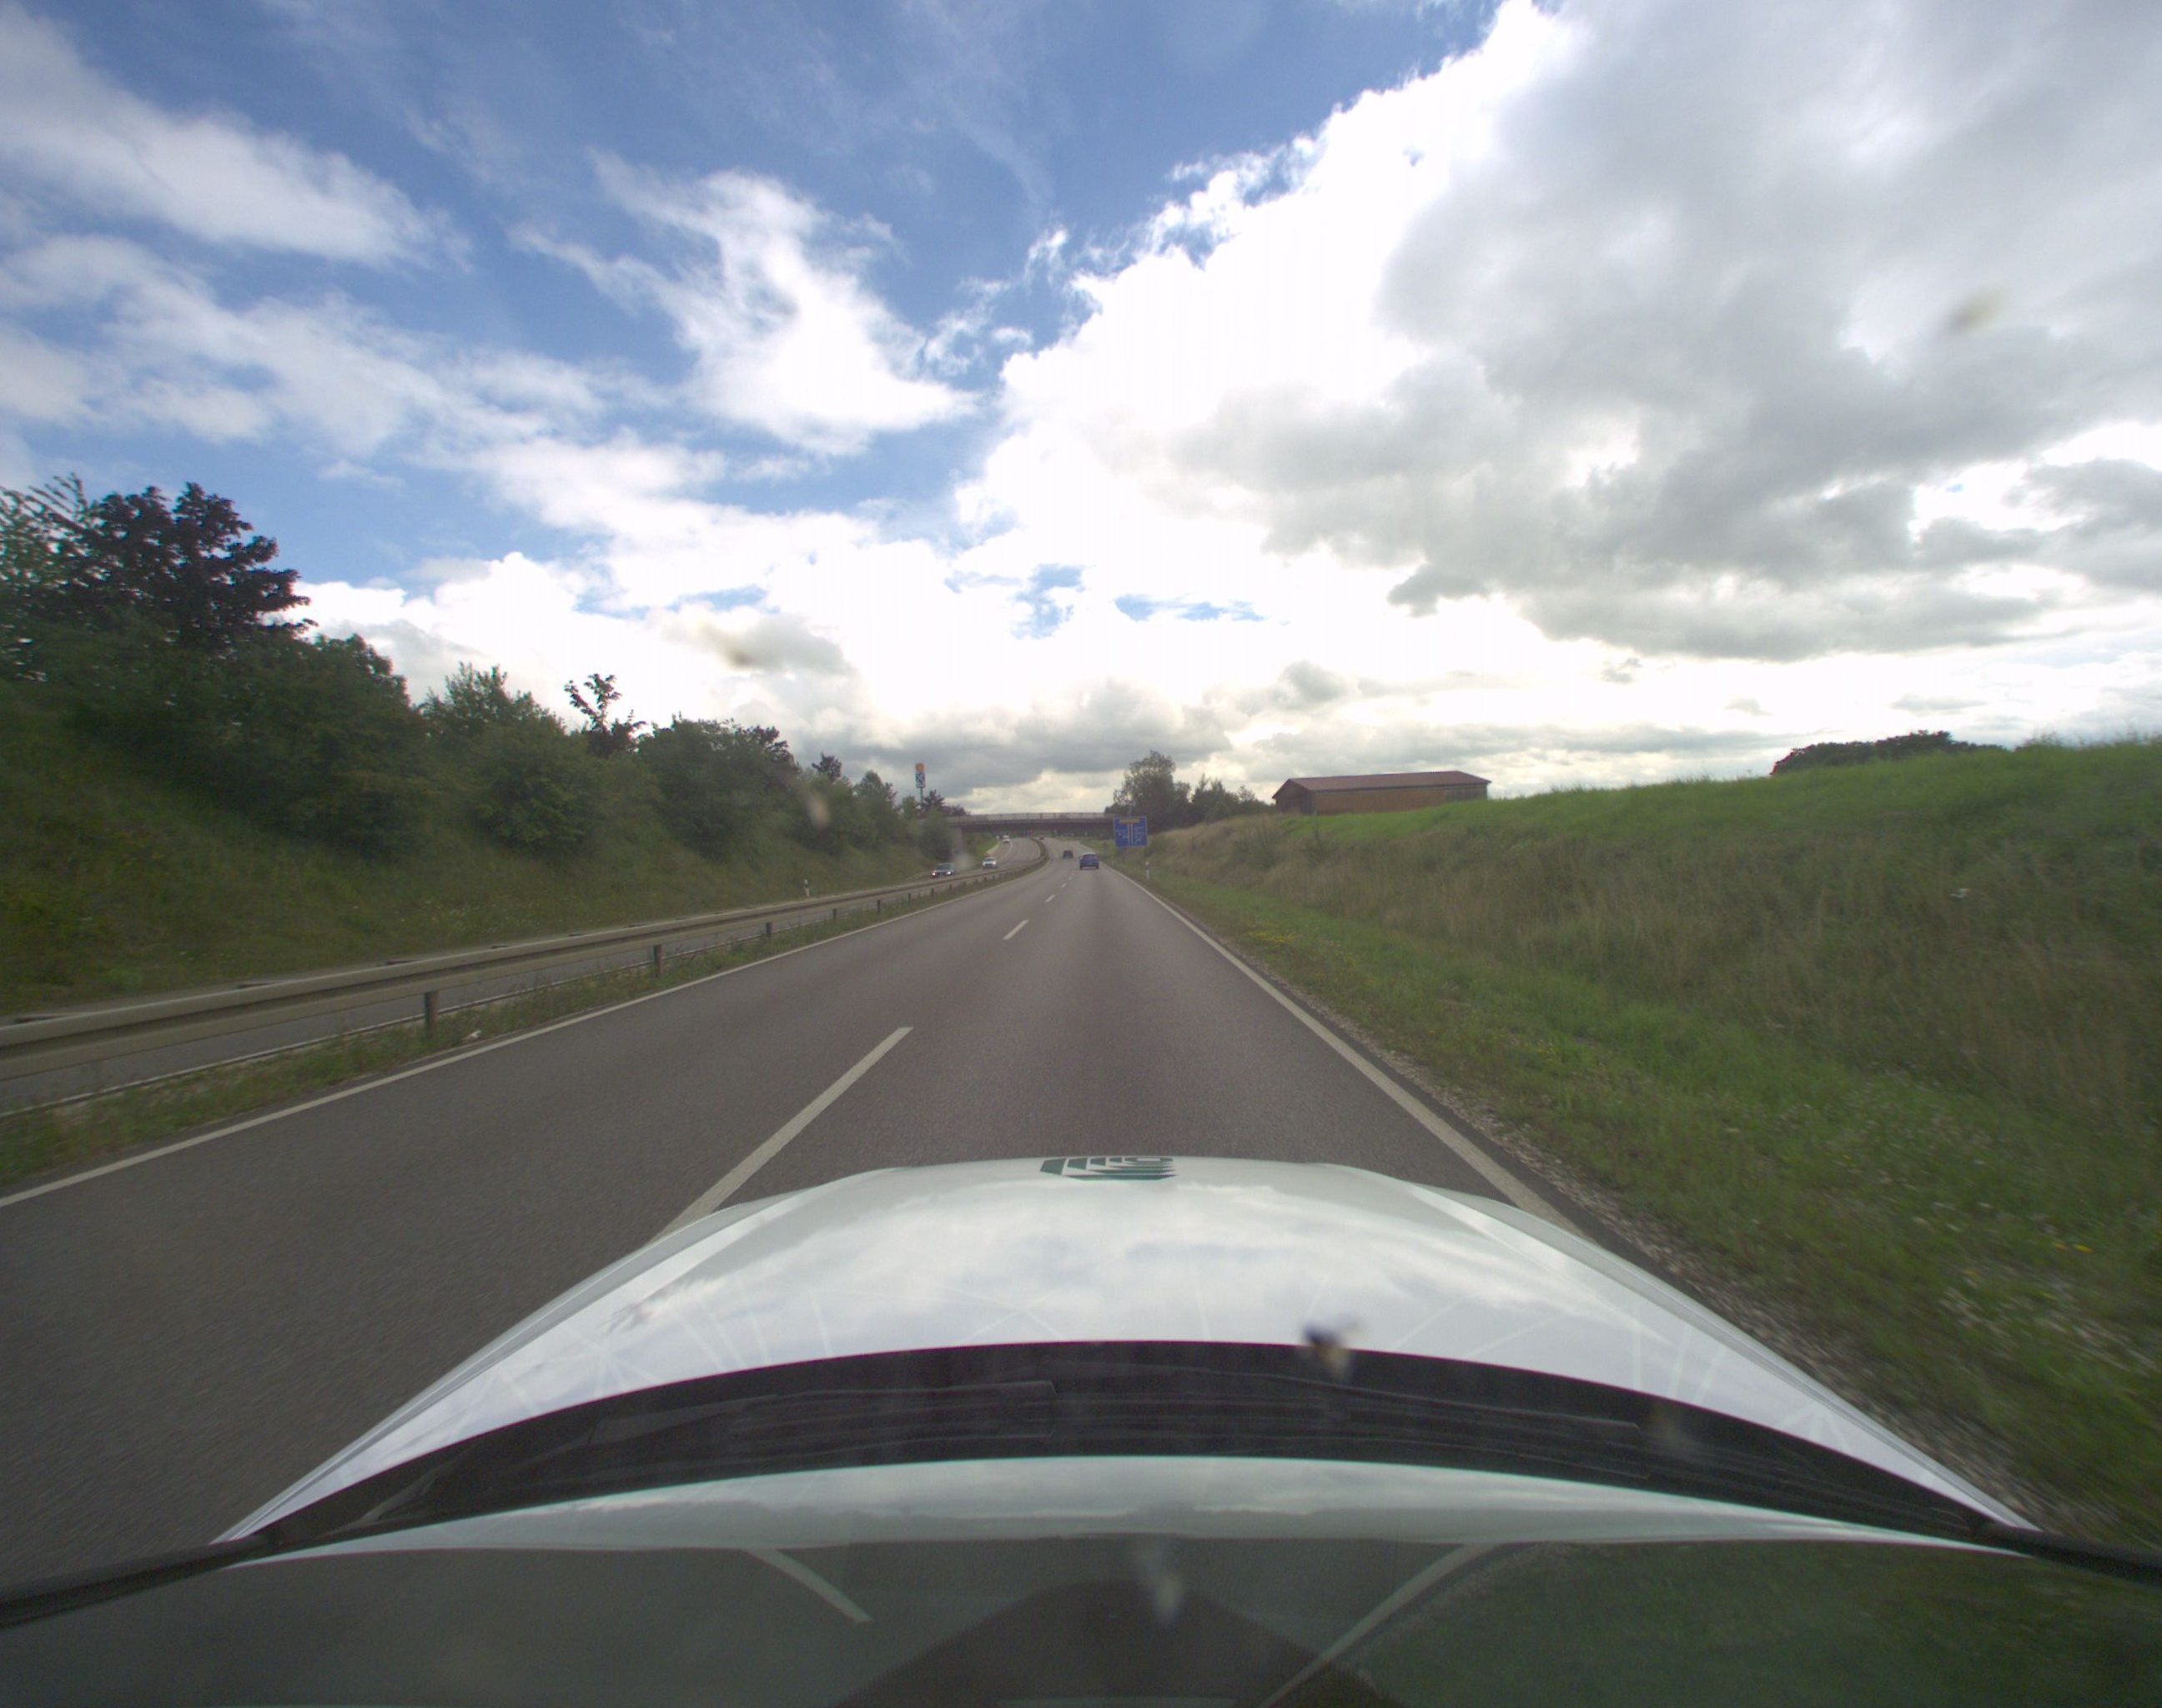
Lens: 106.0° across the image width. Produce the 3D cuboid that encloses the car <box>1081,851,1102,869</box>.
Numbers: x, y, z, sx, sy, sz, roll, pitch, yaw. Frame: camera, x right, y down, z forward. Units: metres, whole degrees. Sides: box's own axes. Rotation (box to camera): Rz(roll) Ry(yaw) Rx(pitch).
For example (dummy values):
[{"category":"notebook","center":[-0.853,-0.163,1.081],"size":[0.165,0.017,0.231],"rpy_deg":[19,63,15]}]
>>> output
[{"category":"car","center":[1.028,0.562,81.953],"size":[2.026,1.660,4.543],"rpy_deg":[-1,1,0]}]

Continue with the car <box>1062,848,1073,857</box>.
[{"category":"car","center":[-2.332,-0.308,143.373],"size":[1.912,1.453,4.362],"rpy_deg":[-3,1,-1]}]

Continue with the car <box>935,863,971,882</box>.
[{"category":"car","center":[-10.472,1.470,66.942],"size":[1.986,1.304,4.823],"rpy_deg":[-3,0,1]}]

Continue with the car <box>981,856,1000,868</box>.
[{"category":"car","center":[-12.062,1.023,108.485],"size":[1.987,1.453,4.000],"rpy_deg":[-3,1,0]}]
